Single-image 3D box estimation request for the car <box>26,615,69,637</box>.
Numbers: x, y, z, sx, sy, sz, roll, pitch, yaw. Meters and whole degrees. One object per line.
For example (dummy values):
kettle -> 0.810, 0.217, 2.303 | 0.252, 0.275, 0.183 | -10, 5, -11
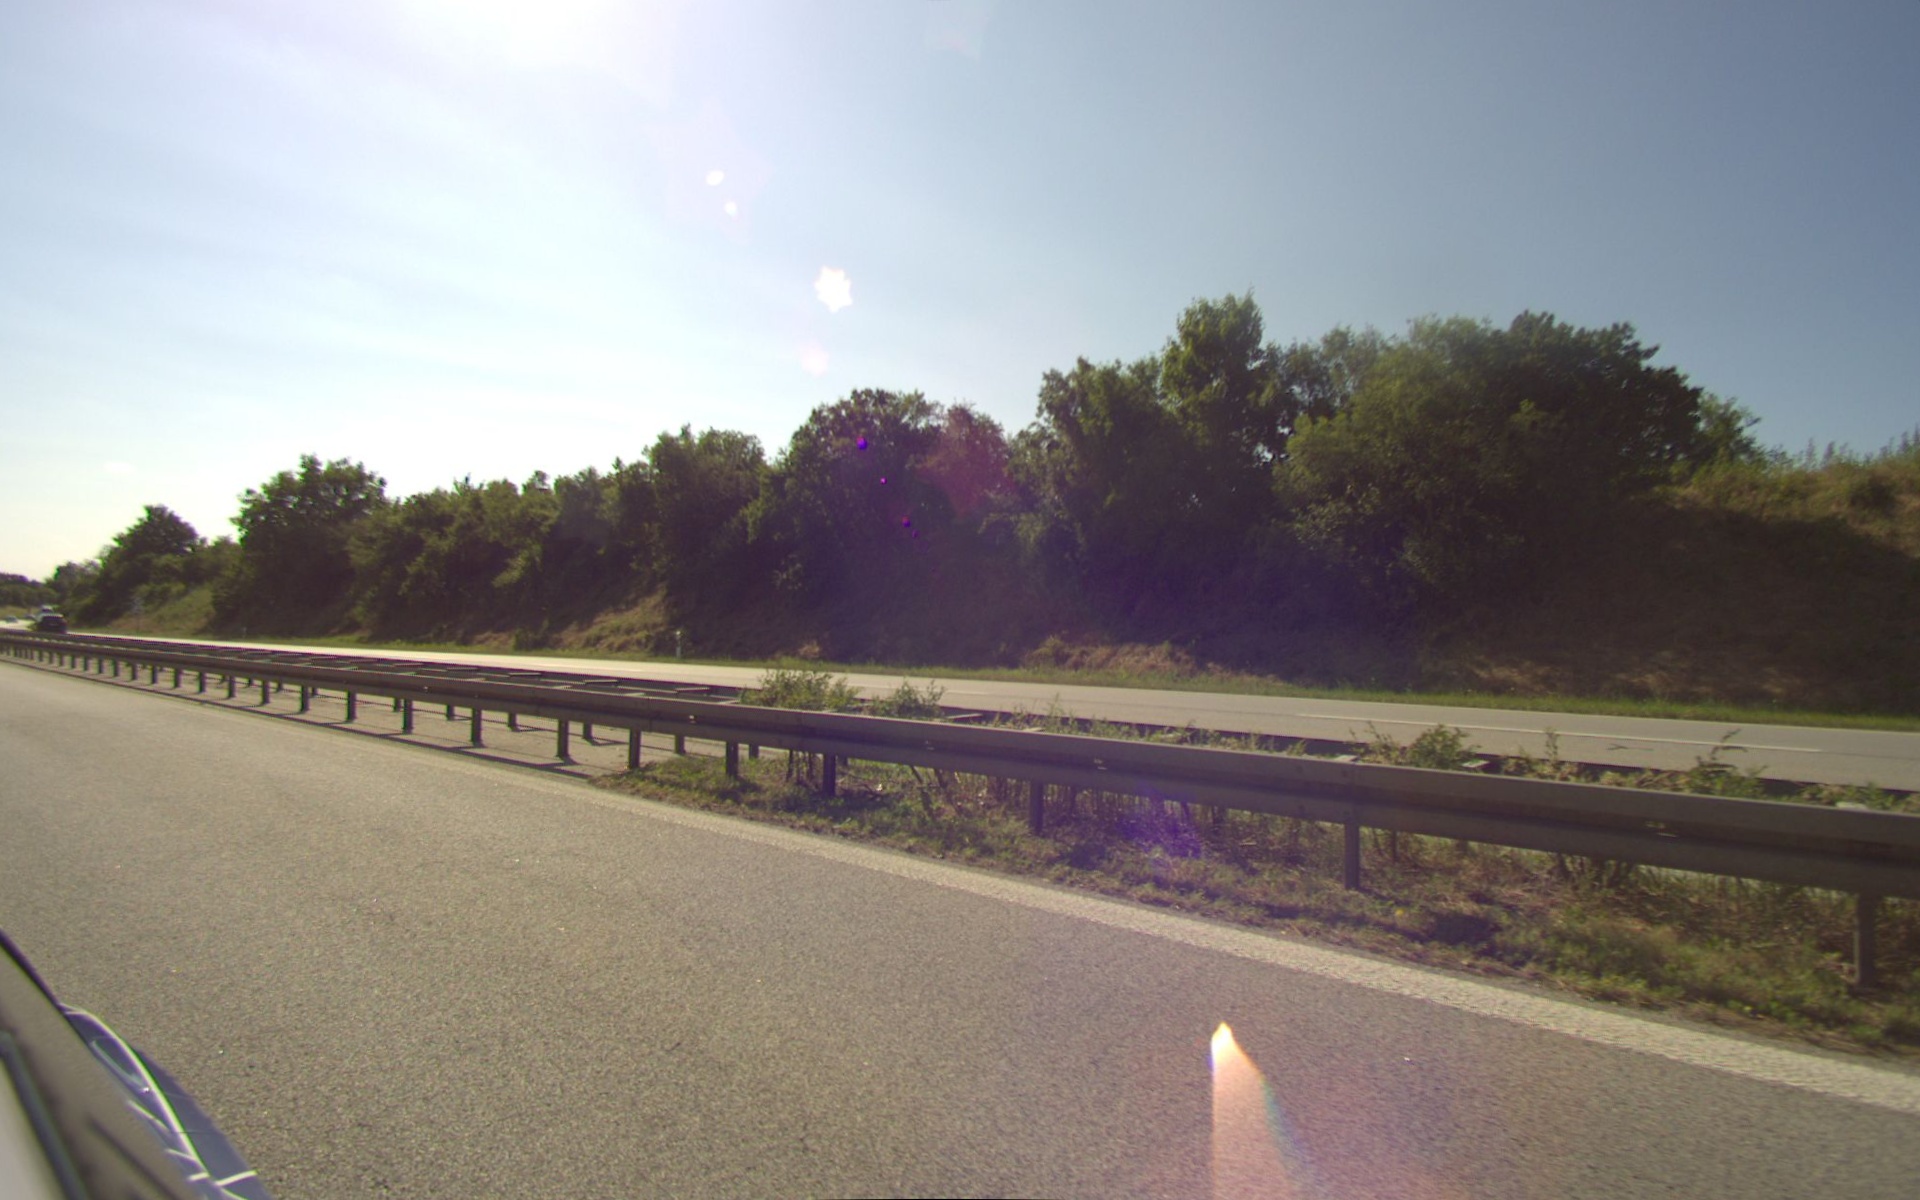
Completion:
car -> -75.956, 2.146, 84.226 | 5.081, 1.657, 1.973 | 0, -3, 41
